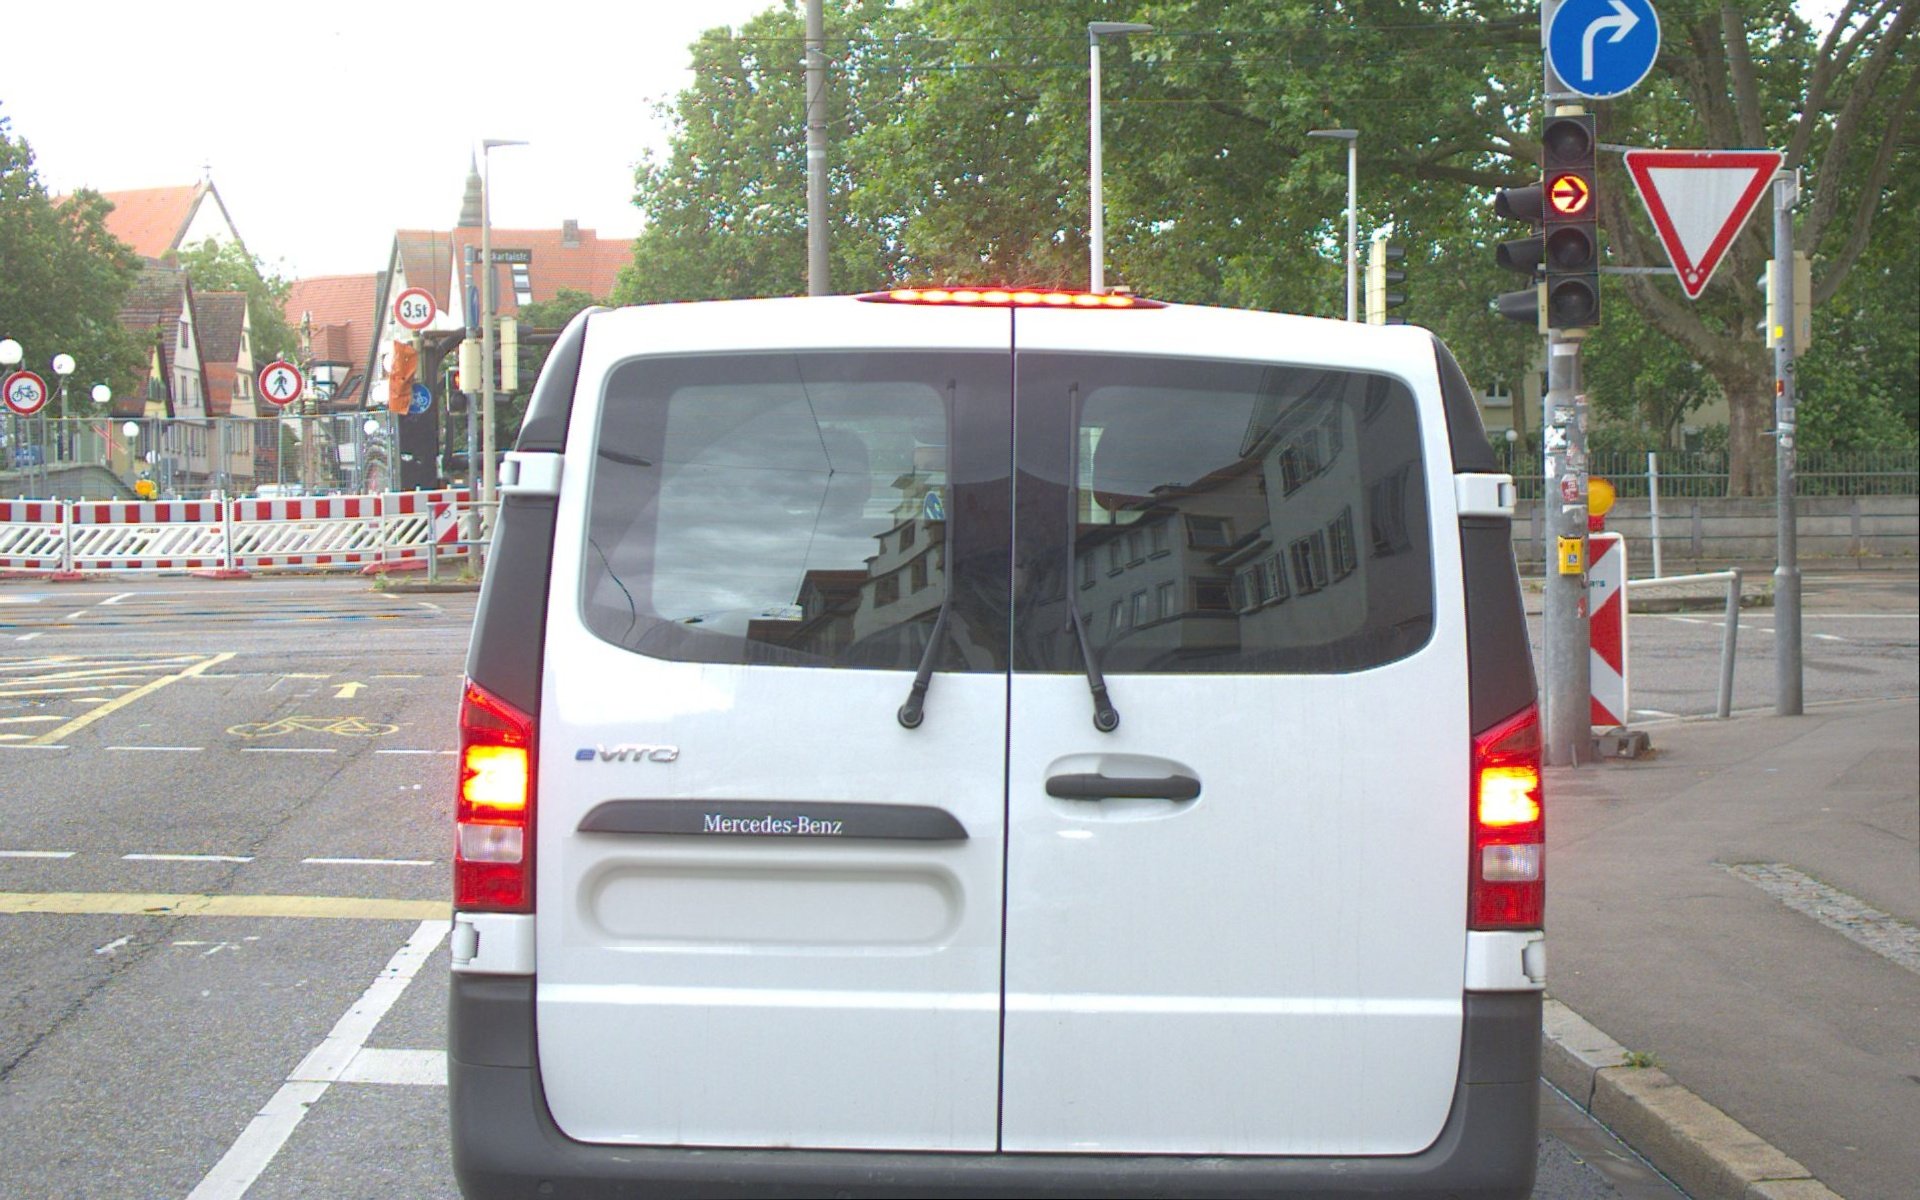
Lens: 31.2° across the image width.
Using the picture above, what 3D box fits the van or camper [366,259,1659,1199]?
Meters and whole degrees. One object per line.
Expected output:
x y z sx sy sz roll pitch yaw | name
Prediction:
-0.059 0.352 7.427 1.937 1.918 4.442 1 3 -4 | van or camper
